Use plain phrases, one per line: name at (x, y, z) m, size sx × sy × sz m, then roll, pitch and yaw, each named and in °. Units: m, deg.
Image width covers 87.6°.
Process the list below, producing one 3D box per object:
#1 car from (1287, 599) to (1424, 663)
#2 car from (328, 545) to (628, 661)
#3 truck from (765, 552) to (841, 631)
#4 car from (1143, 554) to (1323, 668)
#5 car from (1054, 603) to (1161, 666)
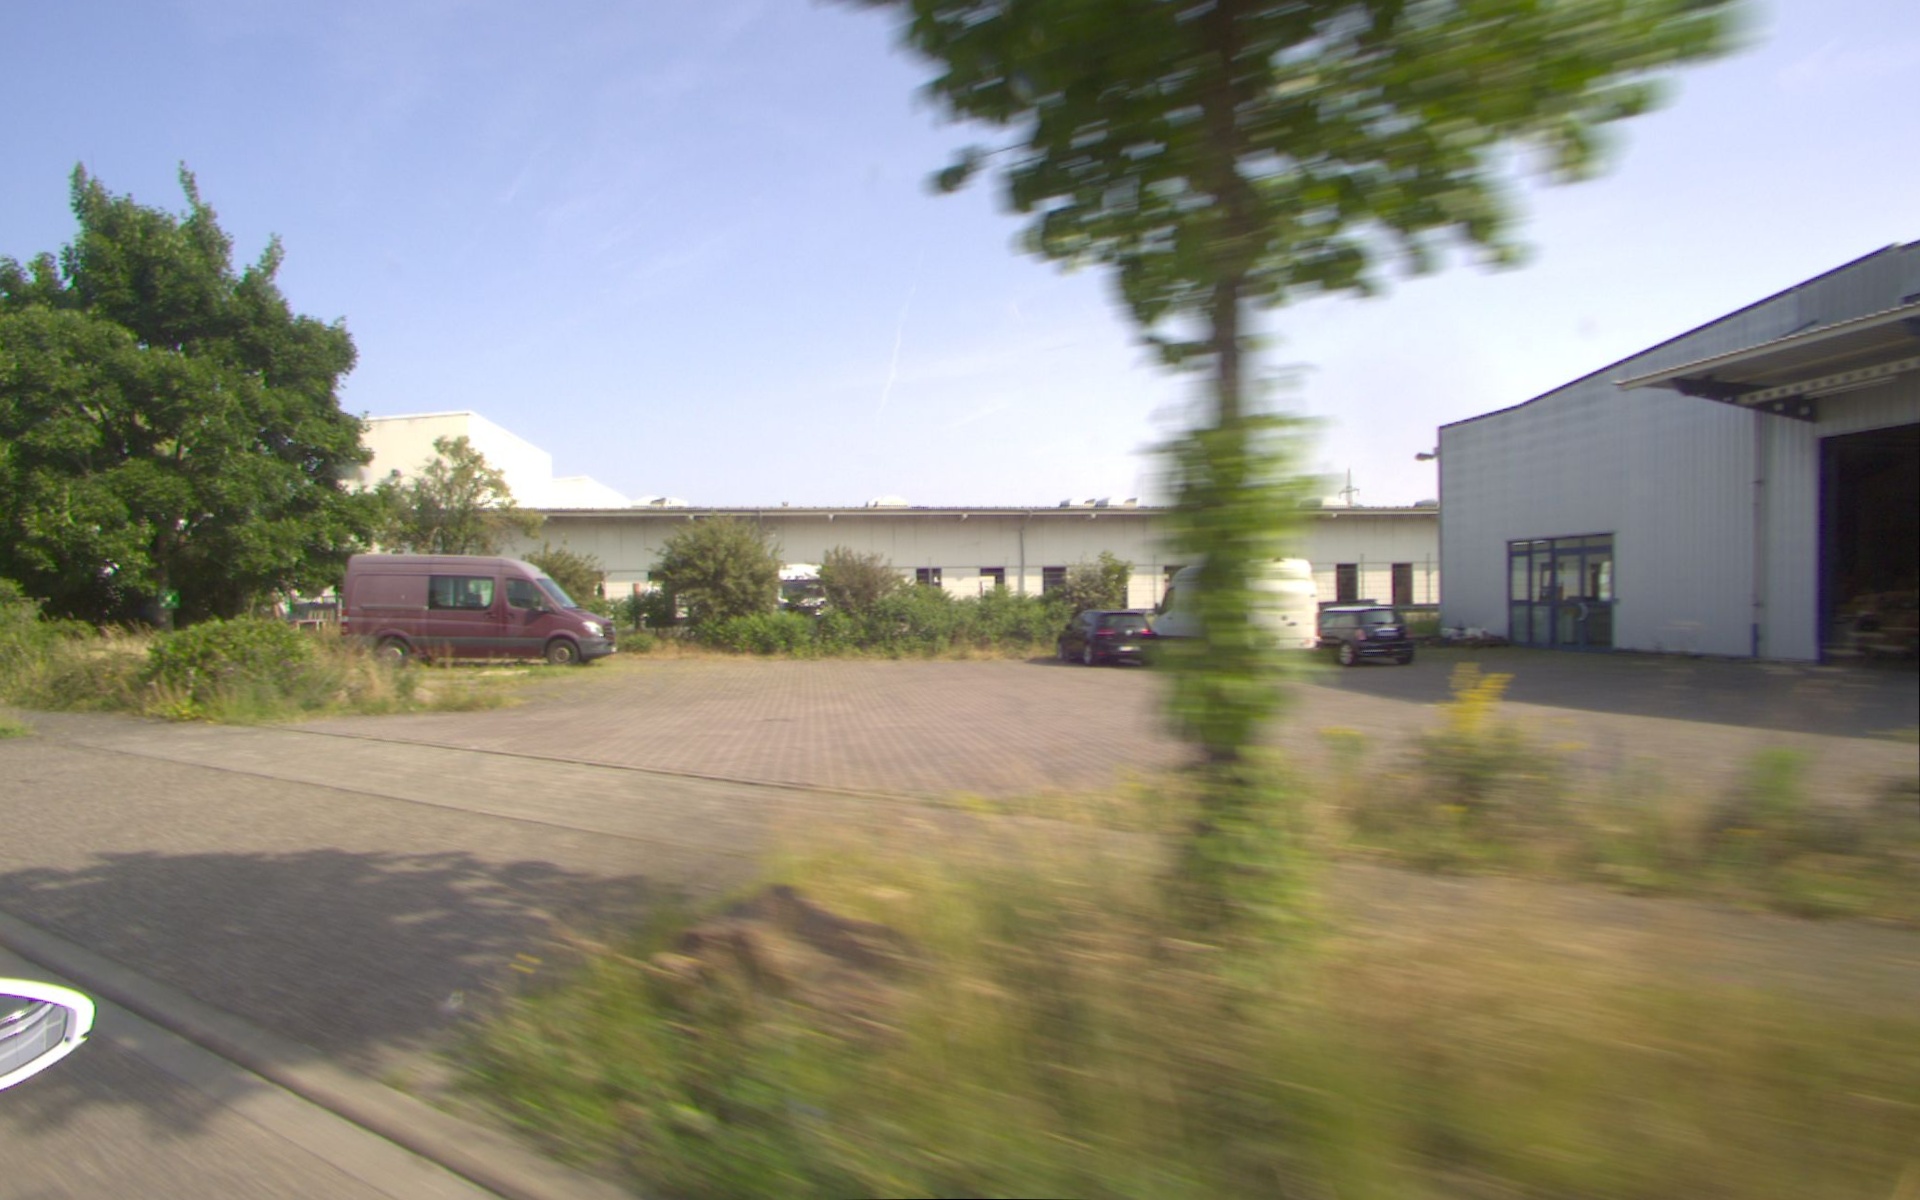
car at (9.813, 0.793, 25.107) m, size 1.671 × 1.490 × 3.440 m, roll 0°, pitch -2°, yaw -9°
car at (-11.237, 0.138, 23.913) m, size 5.933 × 2.557 × 2.574 m, roll 0°, pitch -2°, yaw -9°
truck at (-6.451, -0.249, 41.483) m, size 2.737 × 2.877 × 8.757 m, roll -1°, pitch -1°, yaw -8°
car at (6.867, 0.279, 26.173) m, size 1.969 × 2.558 × 6.557 m, roll -1°, pitch 0°, yaw -9°
car at (3.799, 0.852, 26.431) m, size 1.726 × 1.491 × 3.727 m, roll 0°, pitch 1°, yaw -9°
